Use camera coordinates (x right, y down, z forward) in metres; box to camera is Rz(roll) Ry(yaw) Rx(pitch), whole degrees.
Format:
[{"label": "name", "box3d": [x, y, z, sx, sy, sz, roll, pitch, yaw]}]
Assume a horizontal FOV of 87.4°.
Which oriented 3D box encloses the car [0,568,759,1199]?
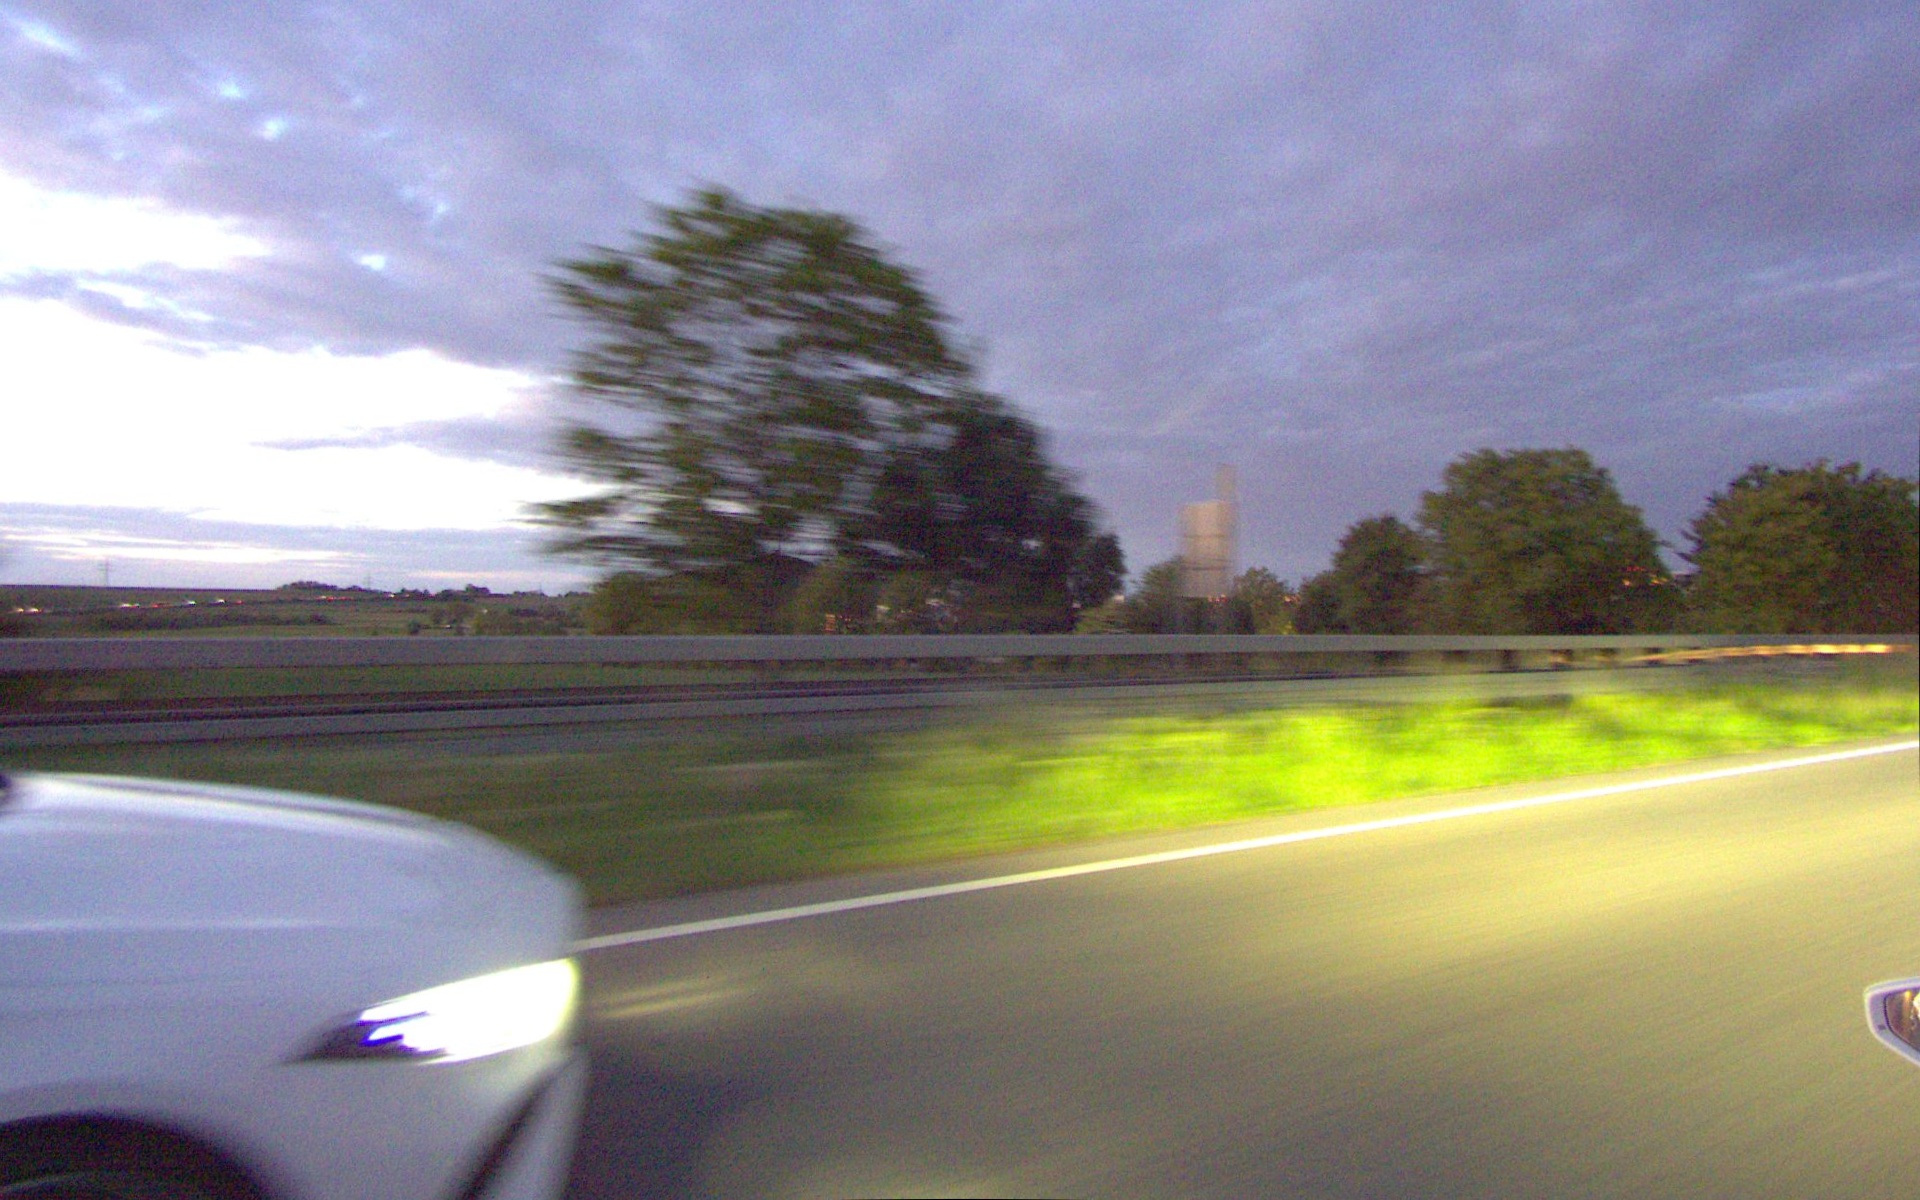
[{"label": "car", "box3d": [-2.767, 0.673, 1.566, 4.526, 1.510, 1.634, 2, 0, -30]}]
